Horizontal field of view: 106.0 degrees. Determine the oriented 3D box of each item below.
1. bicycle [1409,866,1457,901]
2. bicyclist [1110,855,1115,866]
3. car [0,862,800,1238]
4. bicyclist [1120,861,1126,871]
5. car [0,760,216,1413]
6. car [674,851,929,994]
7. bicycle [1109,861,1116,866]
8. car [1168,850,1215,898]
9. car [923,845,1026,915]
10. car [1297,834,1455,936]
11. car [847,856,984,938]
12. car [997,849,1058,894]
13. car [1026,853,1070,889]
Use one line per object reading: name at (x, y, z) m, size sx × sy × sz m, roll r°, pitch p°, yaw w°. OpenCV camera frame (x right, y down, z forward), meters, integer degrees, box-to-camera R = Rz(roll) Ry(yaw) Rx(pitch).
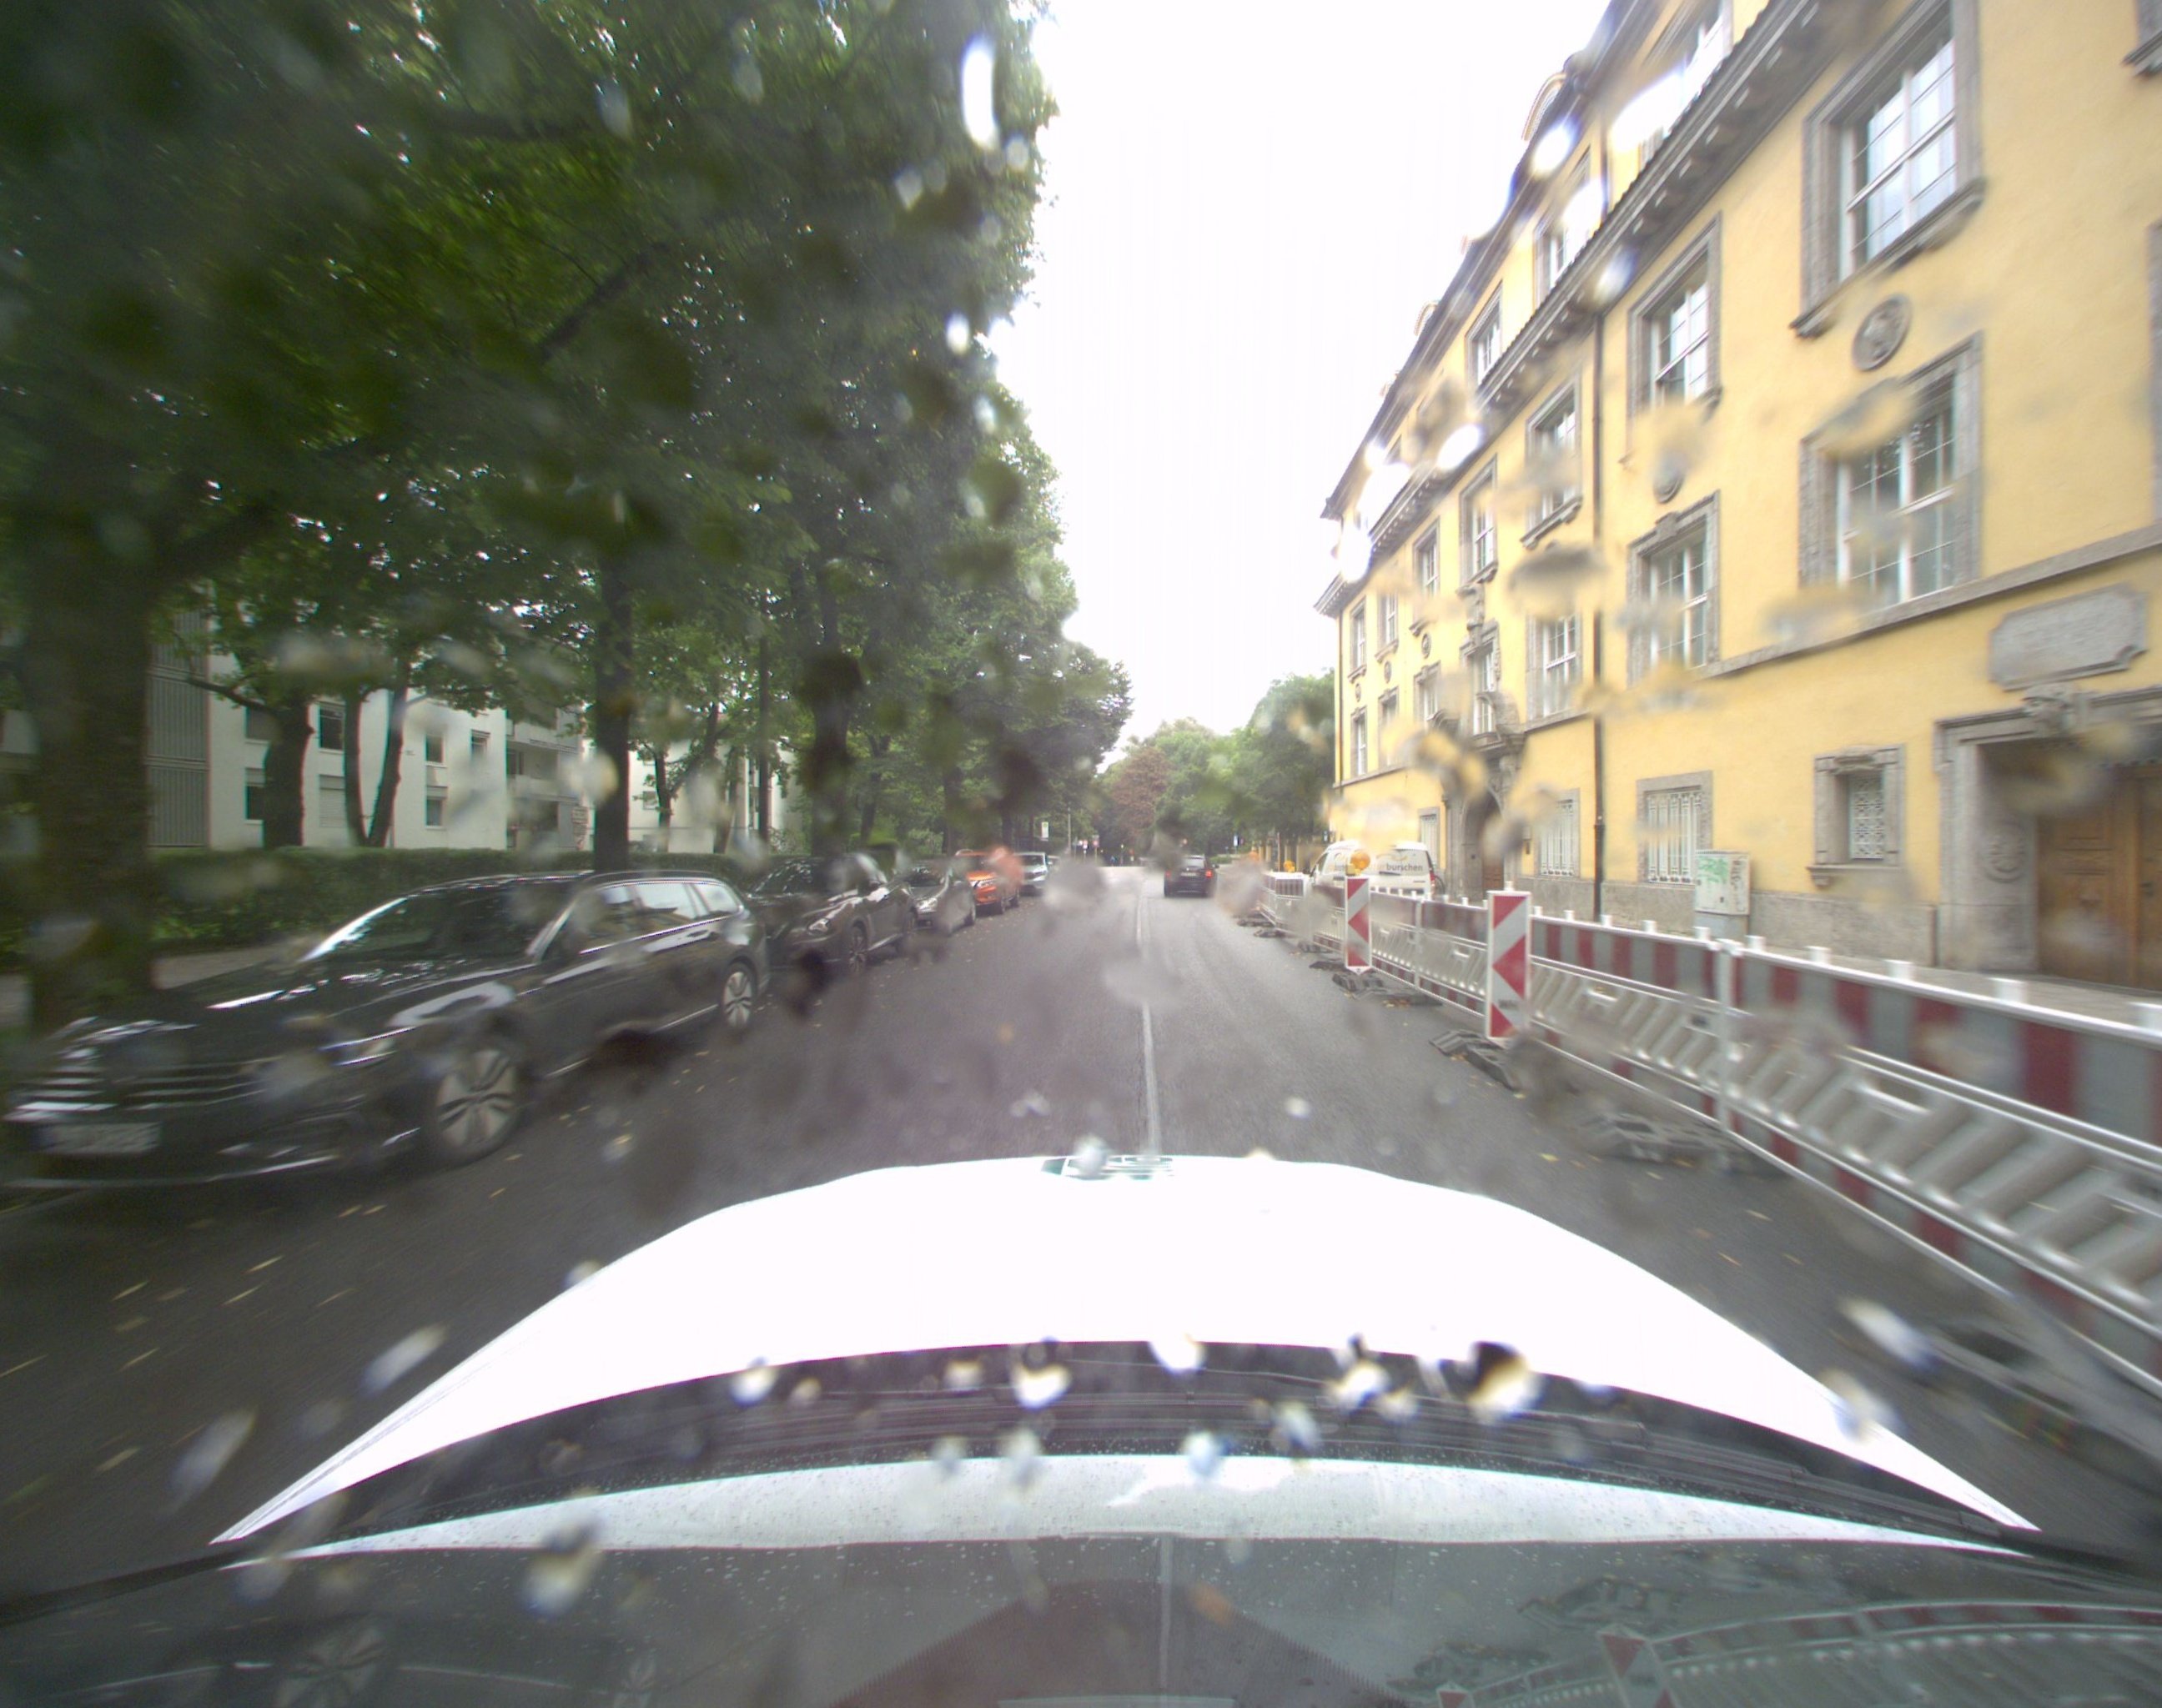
bicycle at (10.678, 0.874, 24.774) m, size 0.677 × 1.006 × 2.059 m, roll 0°, pitch 0°, yaw 3°
bicyclist at (4.630, 0.973, 119.753) m, size 0.679 × 1.504 × 0.899 m, roll -1°, pitch 0°, yaw -5°
car at (-3.776, 0.803, 5.630) m, size 1.711 × 1.451 × 4.701 m, roll 0°, pitch 0°, yaw 4°
bicyclist at (5.438, 1.542, 105.703) m, size 0.679 × 1.187 × 0.480 m, roll -1°, pitch 0°, yaw -3°
car at (-4.132, 0.662, 0.365) m, size 1.984 × 1.797 × 4.926 m, roll -2°, pitch 0°, yaw 4°
car at (-3.517, 0.756, 11.259) m, size 1.779 × 1.574 × 4.489 m, roll 0°, pitch 0°, yaw 3°
bicycle at (4.620, 1.397, 119.686) m, size 0.678 × 0.830 × 2.106 m, roll 0°, pitch -1°, yaw -5°
car at (3.935, 0.678, 29.302) m, size 1.569 × 1.584 × 4.052 m, roll 0°, pitch 0°, yaw 7°
car at (-2.788, 0.642, 22.454) m, size 1.864 × 1.728 × 4.647 m, roll 0°, pitch 0°, yaw 5°
car at (5.658, 0.565, 16.222) m, size 1.733 × 1.750 × 4.358 m, roll 0°, pitch -1°, yaw 2°
car at (-3.196, 0.767, 16.615) m, size 1.720 × 1.422 × 4.254 m, roll 0°, pitch 0°, yaw 3°
car at (-1.988, 0.621, 31.556) m, size 1.807 × 1.601 × 4.517 m, roll 0°, pitch 0°, yaw 3°
car at (-1.422, 0.721, 36.695) m, size 1.570 × 1.497 × 4.203 m, roll 0°, pitch 0°, yaw 3°
